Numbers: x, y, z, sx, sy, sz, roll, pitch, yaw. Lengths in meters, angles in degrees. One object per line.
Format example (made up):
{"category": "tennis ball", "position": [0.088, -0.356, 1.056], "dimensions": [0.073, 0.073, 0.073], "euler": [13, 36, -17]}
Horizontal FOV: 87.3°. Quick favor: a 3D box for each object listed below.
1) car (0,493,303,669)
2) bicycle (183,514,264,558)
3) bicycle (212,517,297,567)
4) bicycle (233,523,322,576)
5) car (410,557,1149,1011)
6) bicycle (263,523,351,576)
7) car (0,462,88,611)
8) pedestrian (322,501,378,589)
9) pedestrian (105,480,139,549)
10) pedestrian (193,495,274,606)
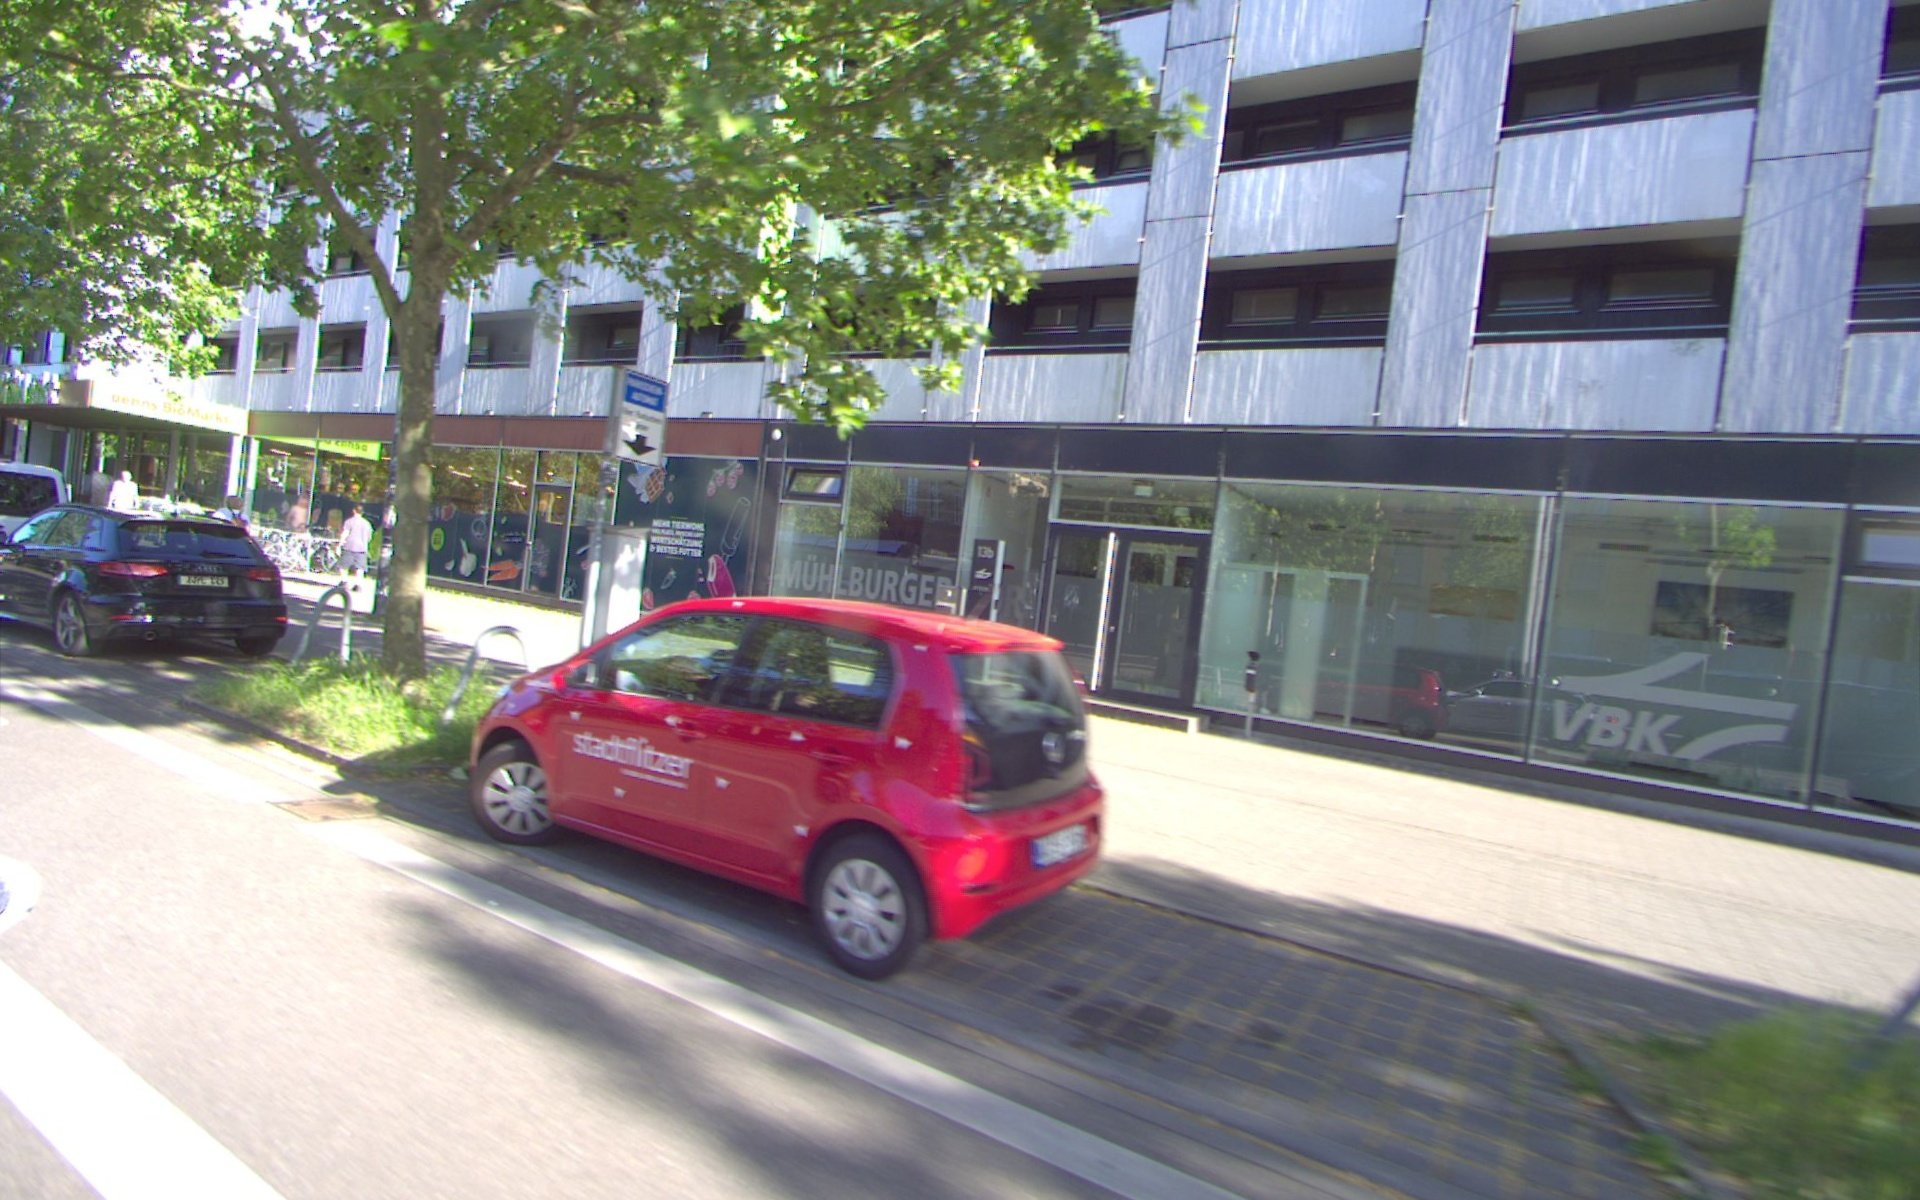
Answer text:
{"category": "car", "position": [-9.071, -0.277, 10.751], "dimensions": [4.223, 1.421, 1.730], "euler": [7, 2, 31]}
{"category": "bicycle", "position": [-19.284, -1.674, 26.376], "dimensions": [1.634, 0.929, 0.580], "euler": [5, 5, -32]}
{"category": "bicycle", "position": [-18.013, -1.476, 25.707], "dimensions": [1.686, 1.070, 0.580], "euler": [5, 5, -32]}
{"category": "bicycle", "position": [-16.485, -1.220, 24.333], "dimensions": [1.686, 1.070, 0.580], "euler": [5, 4, -32]}
{"category": "car", "position": [-1.059, 0.681, 5.415], "dimensions": [3.628, 1.457, 1.673], "euler": [6, 2, 31]}
{"category": "bicycle", "position": [-15.524, -1.196, 23.946], "dimensions": [1.686, 1.070, 0.580], "euler": [4, 3, -32]}
{"category": "car", "position": [-13.794, -1.036, 13.599], "dimensions": [4.320, 1.815, 1.765], "euler": [7, 1, 32]}
{"category": "pedestrian", "position": [-12.592, -1.133, 20.759], "dimensions": [0.867, 1.701, 0.557], "euler": [7, 3, 31]}
{"category": "pedestrian", "position": [-22.332, -2.284, 26.803], "dimensions": [0.608, 1.740, 0.605], "euler": [3, 6, -42]}
{"category": "pedestrian", "position": [-11.419, -0.774, 15.810], "dimensions": [0.854, 1.634, 0.697], "euler": [7, 3, 33]}
